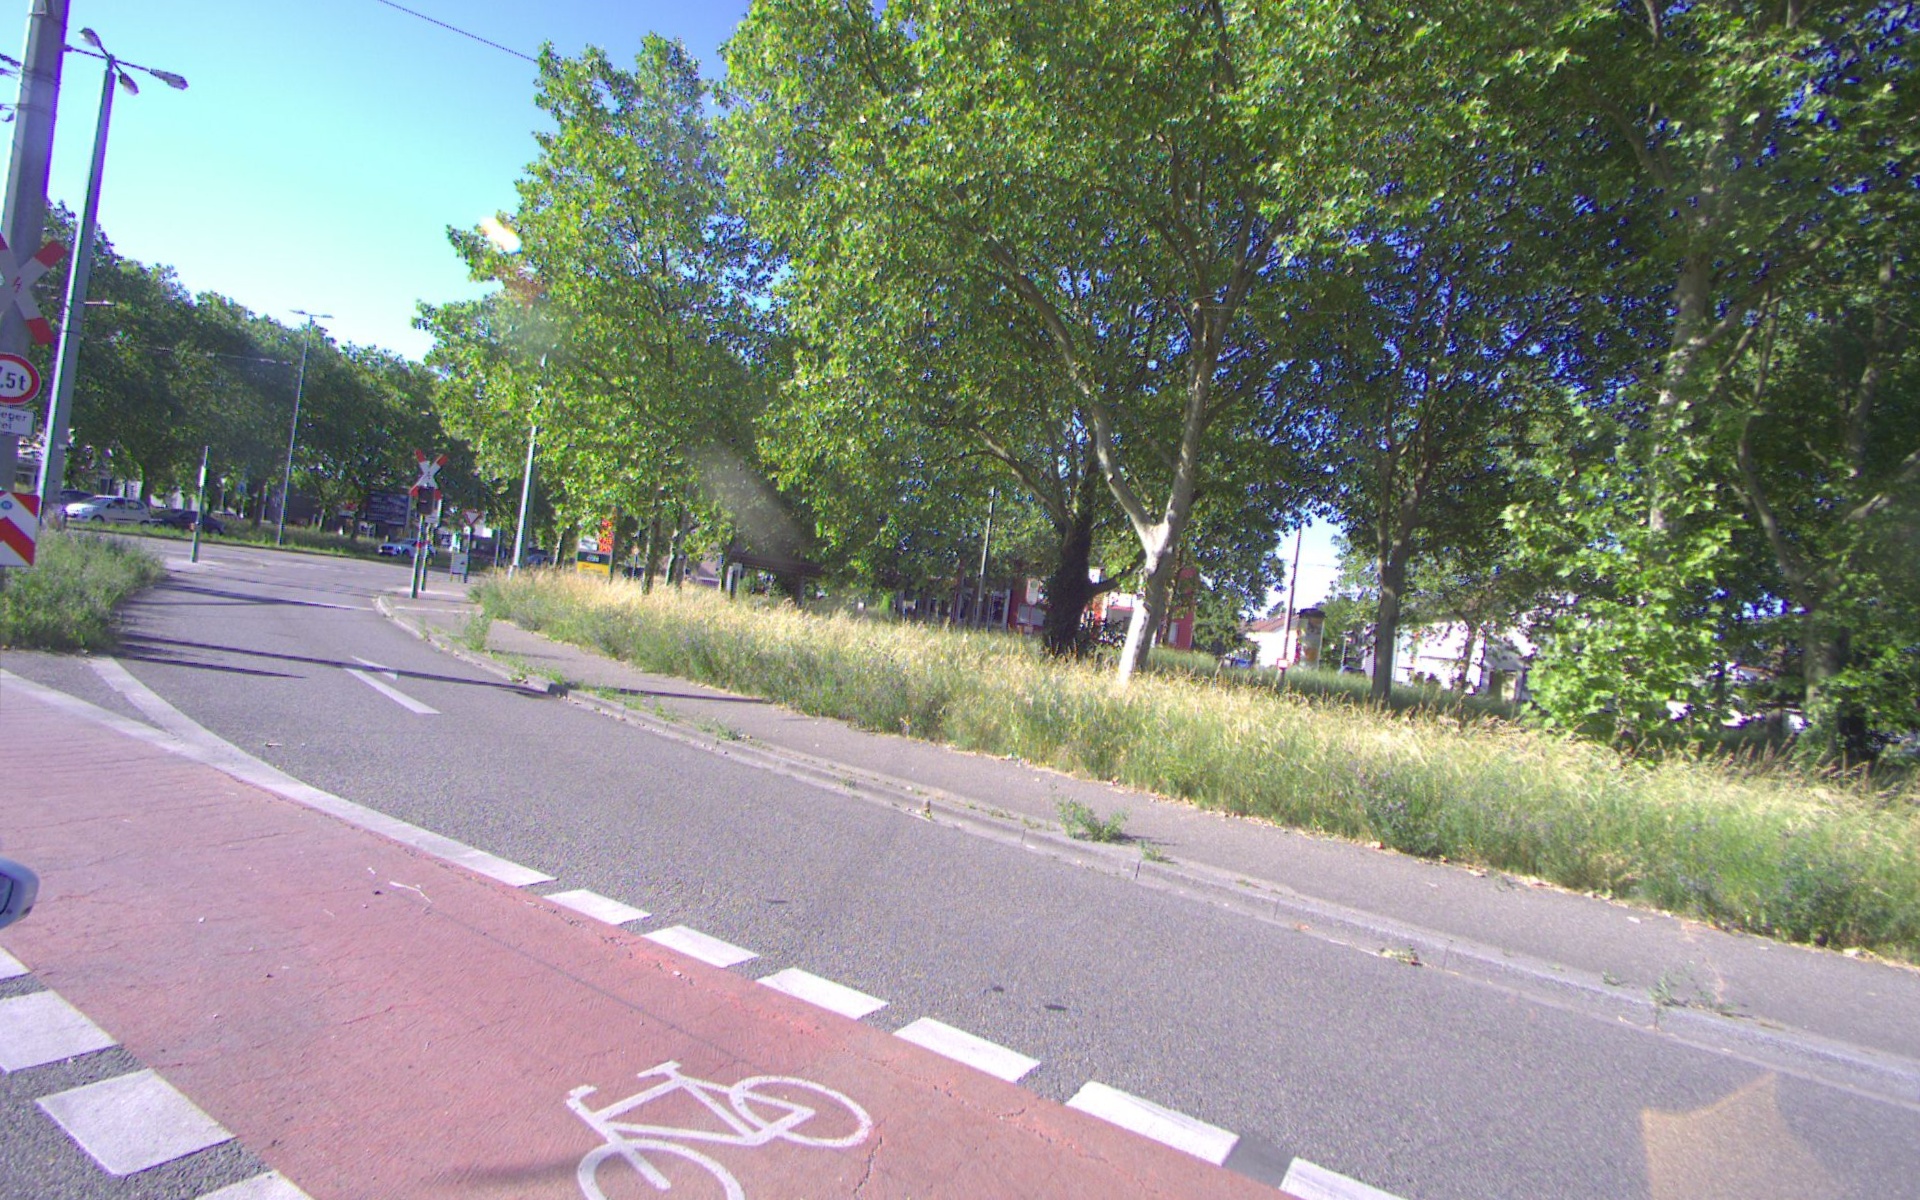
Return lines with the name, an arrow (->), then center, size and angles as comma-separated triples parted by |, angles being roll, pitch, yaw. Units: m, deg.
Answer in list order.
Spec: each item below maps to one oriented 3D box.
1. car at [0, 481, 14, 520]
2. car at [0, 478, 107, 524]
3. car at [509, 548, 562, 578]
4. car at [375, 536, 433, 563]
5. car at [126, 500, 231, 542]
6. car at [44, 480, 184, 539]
car -> -41.048, -4.321, 40.573 | 1.575, 1.549, 4.002 | 7, 0, 9
car -> -44.037, -4.781, 48.913 | 1.462, 1.589, 3.758 | 7, -1, 9
car -> -33.372, -2.878, 79.156 | 1.821, 1.796, 4.217 | 7, -1, 7
car -> -40.910, -3.673, 74.121 | 1.563, 1.519, 4.002 | 7, -1, 7
car -> -42.937, -4.307, 55.421 | 1.661, 1.593, 4.528 | 7, -1, 9
car -> -40.474, -4.286, 48.297 | 1.962, 2.038, 4.907 | 7, -1, 9
